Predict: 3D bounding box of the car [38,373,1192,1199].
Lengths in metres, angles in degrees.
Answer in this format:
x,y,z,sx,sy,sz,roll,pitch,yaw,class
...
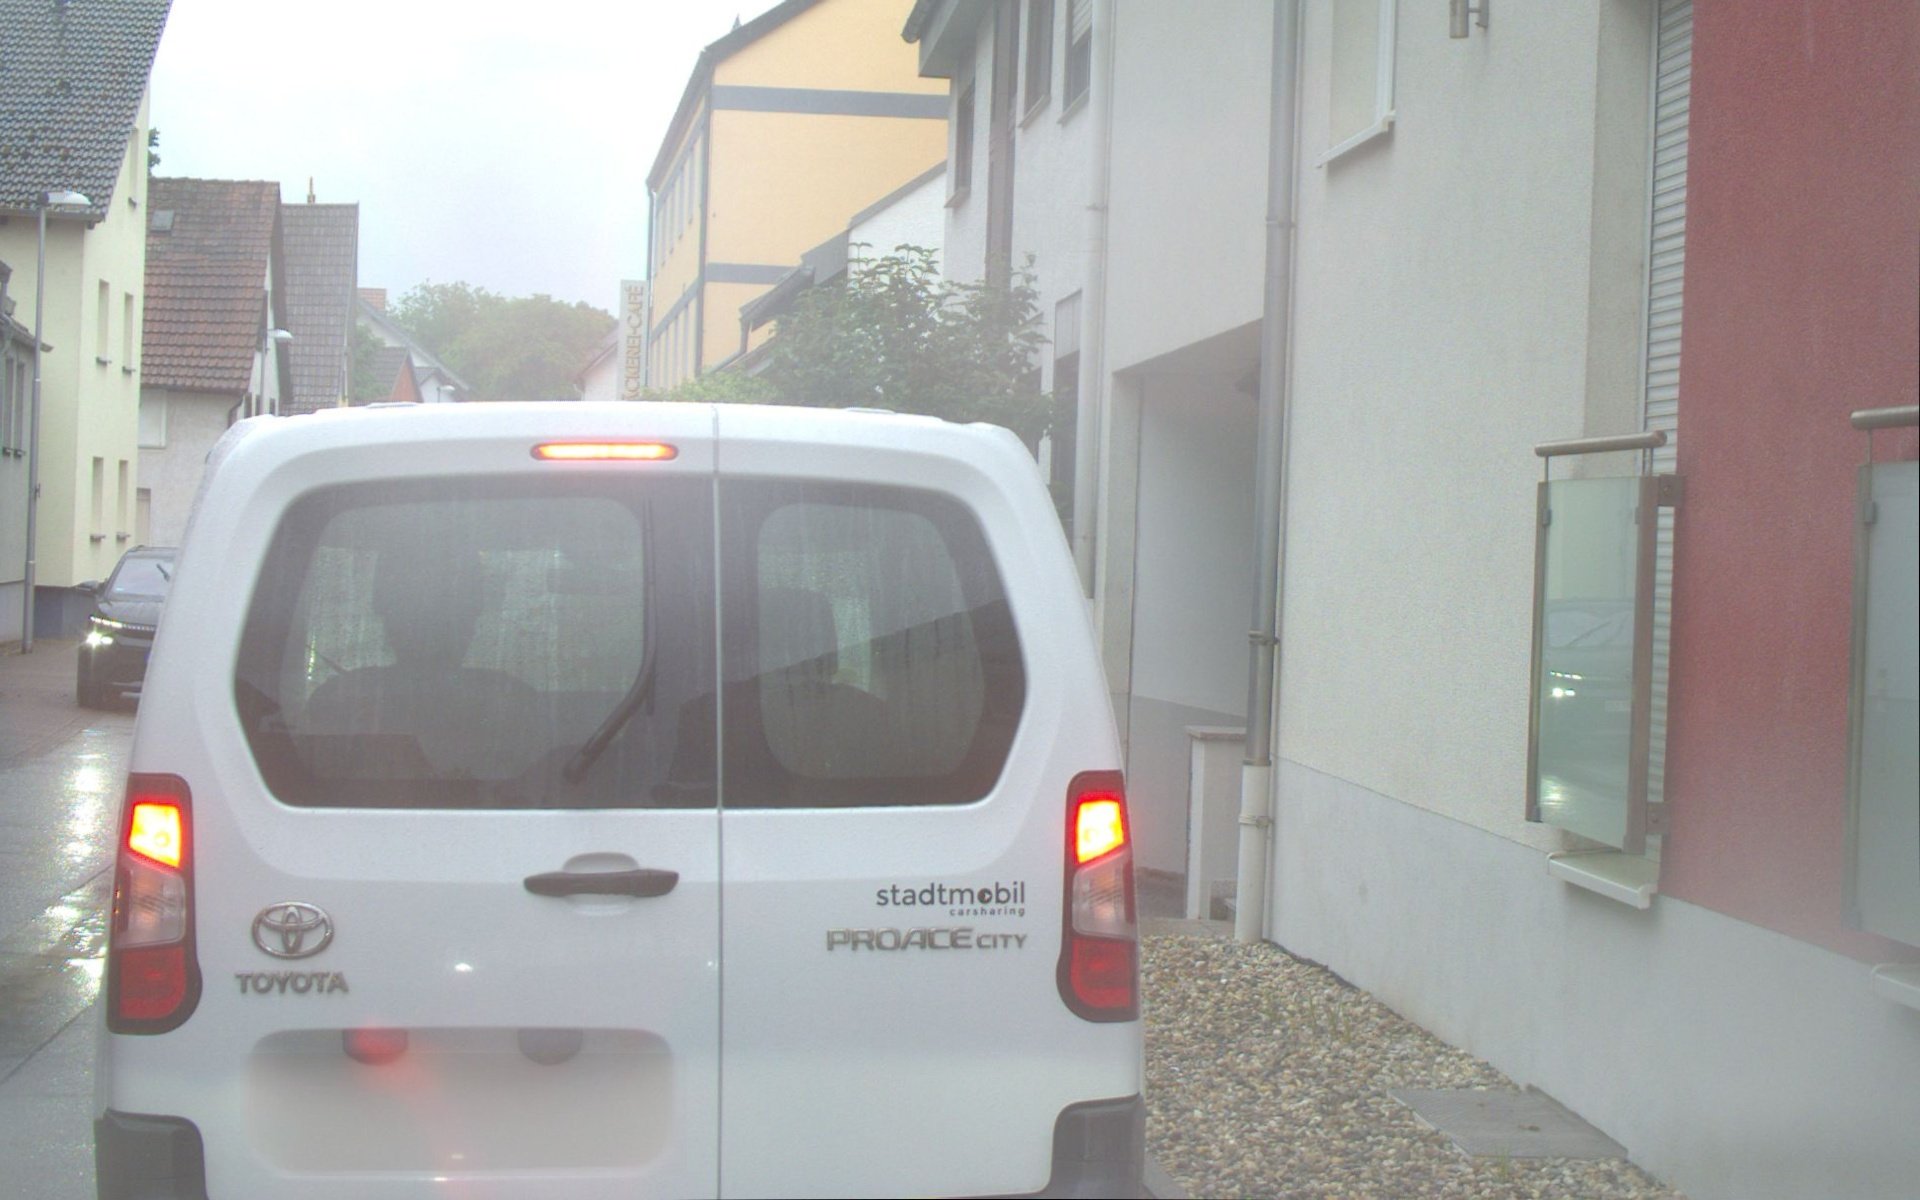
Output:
x,y,z,sx,sy,sz,roll,pitch,yaw,class
-0.830,0.530,7.338,1.774,1.774,4.001,1,1,-9,car

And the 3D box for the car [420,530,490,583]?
x,y,z,sx,sy,sz,roll,pitch,yaw,class
-13.847,-1.197,94.087,1.779,1.390,4.001,1,1,-10,car

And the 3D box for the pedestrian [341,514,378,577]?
x,y,z,sx,sy,sz,roll,pitch,yaw,class
-18.180,-1.645,104.068,1.050,1.886,0.877,1,0,-9,pedestrian

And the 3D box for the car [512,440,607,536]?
x,y,z,sx,sy,sz,roll,pitch,yaw,class
-8.851,-2.460,76.282,1.993,2.007,4.001,1,1,-6,car

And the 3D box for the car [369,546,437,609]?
x,y,z,sx,sy,sz,roll,pitch,yaw,class
-13.481,-0.558,83.043,1.560,1.472,4.001,1,1,-10,car

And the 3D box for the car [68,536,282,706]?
x,y,z,sx,sy,sz,roll,pitch,yaw,class
-7.847,0.173,34.681,1.832,1.550,4.241,2,1,-10,car
